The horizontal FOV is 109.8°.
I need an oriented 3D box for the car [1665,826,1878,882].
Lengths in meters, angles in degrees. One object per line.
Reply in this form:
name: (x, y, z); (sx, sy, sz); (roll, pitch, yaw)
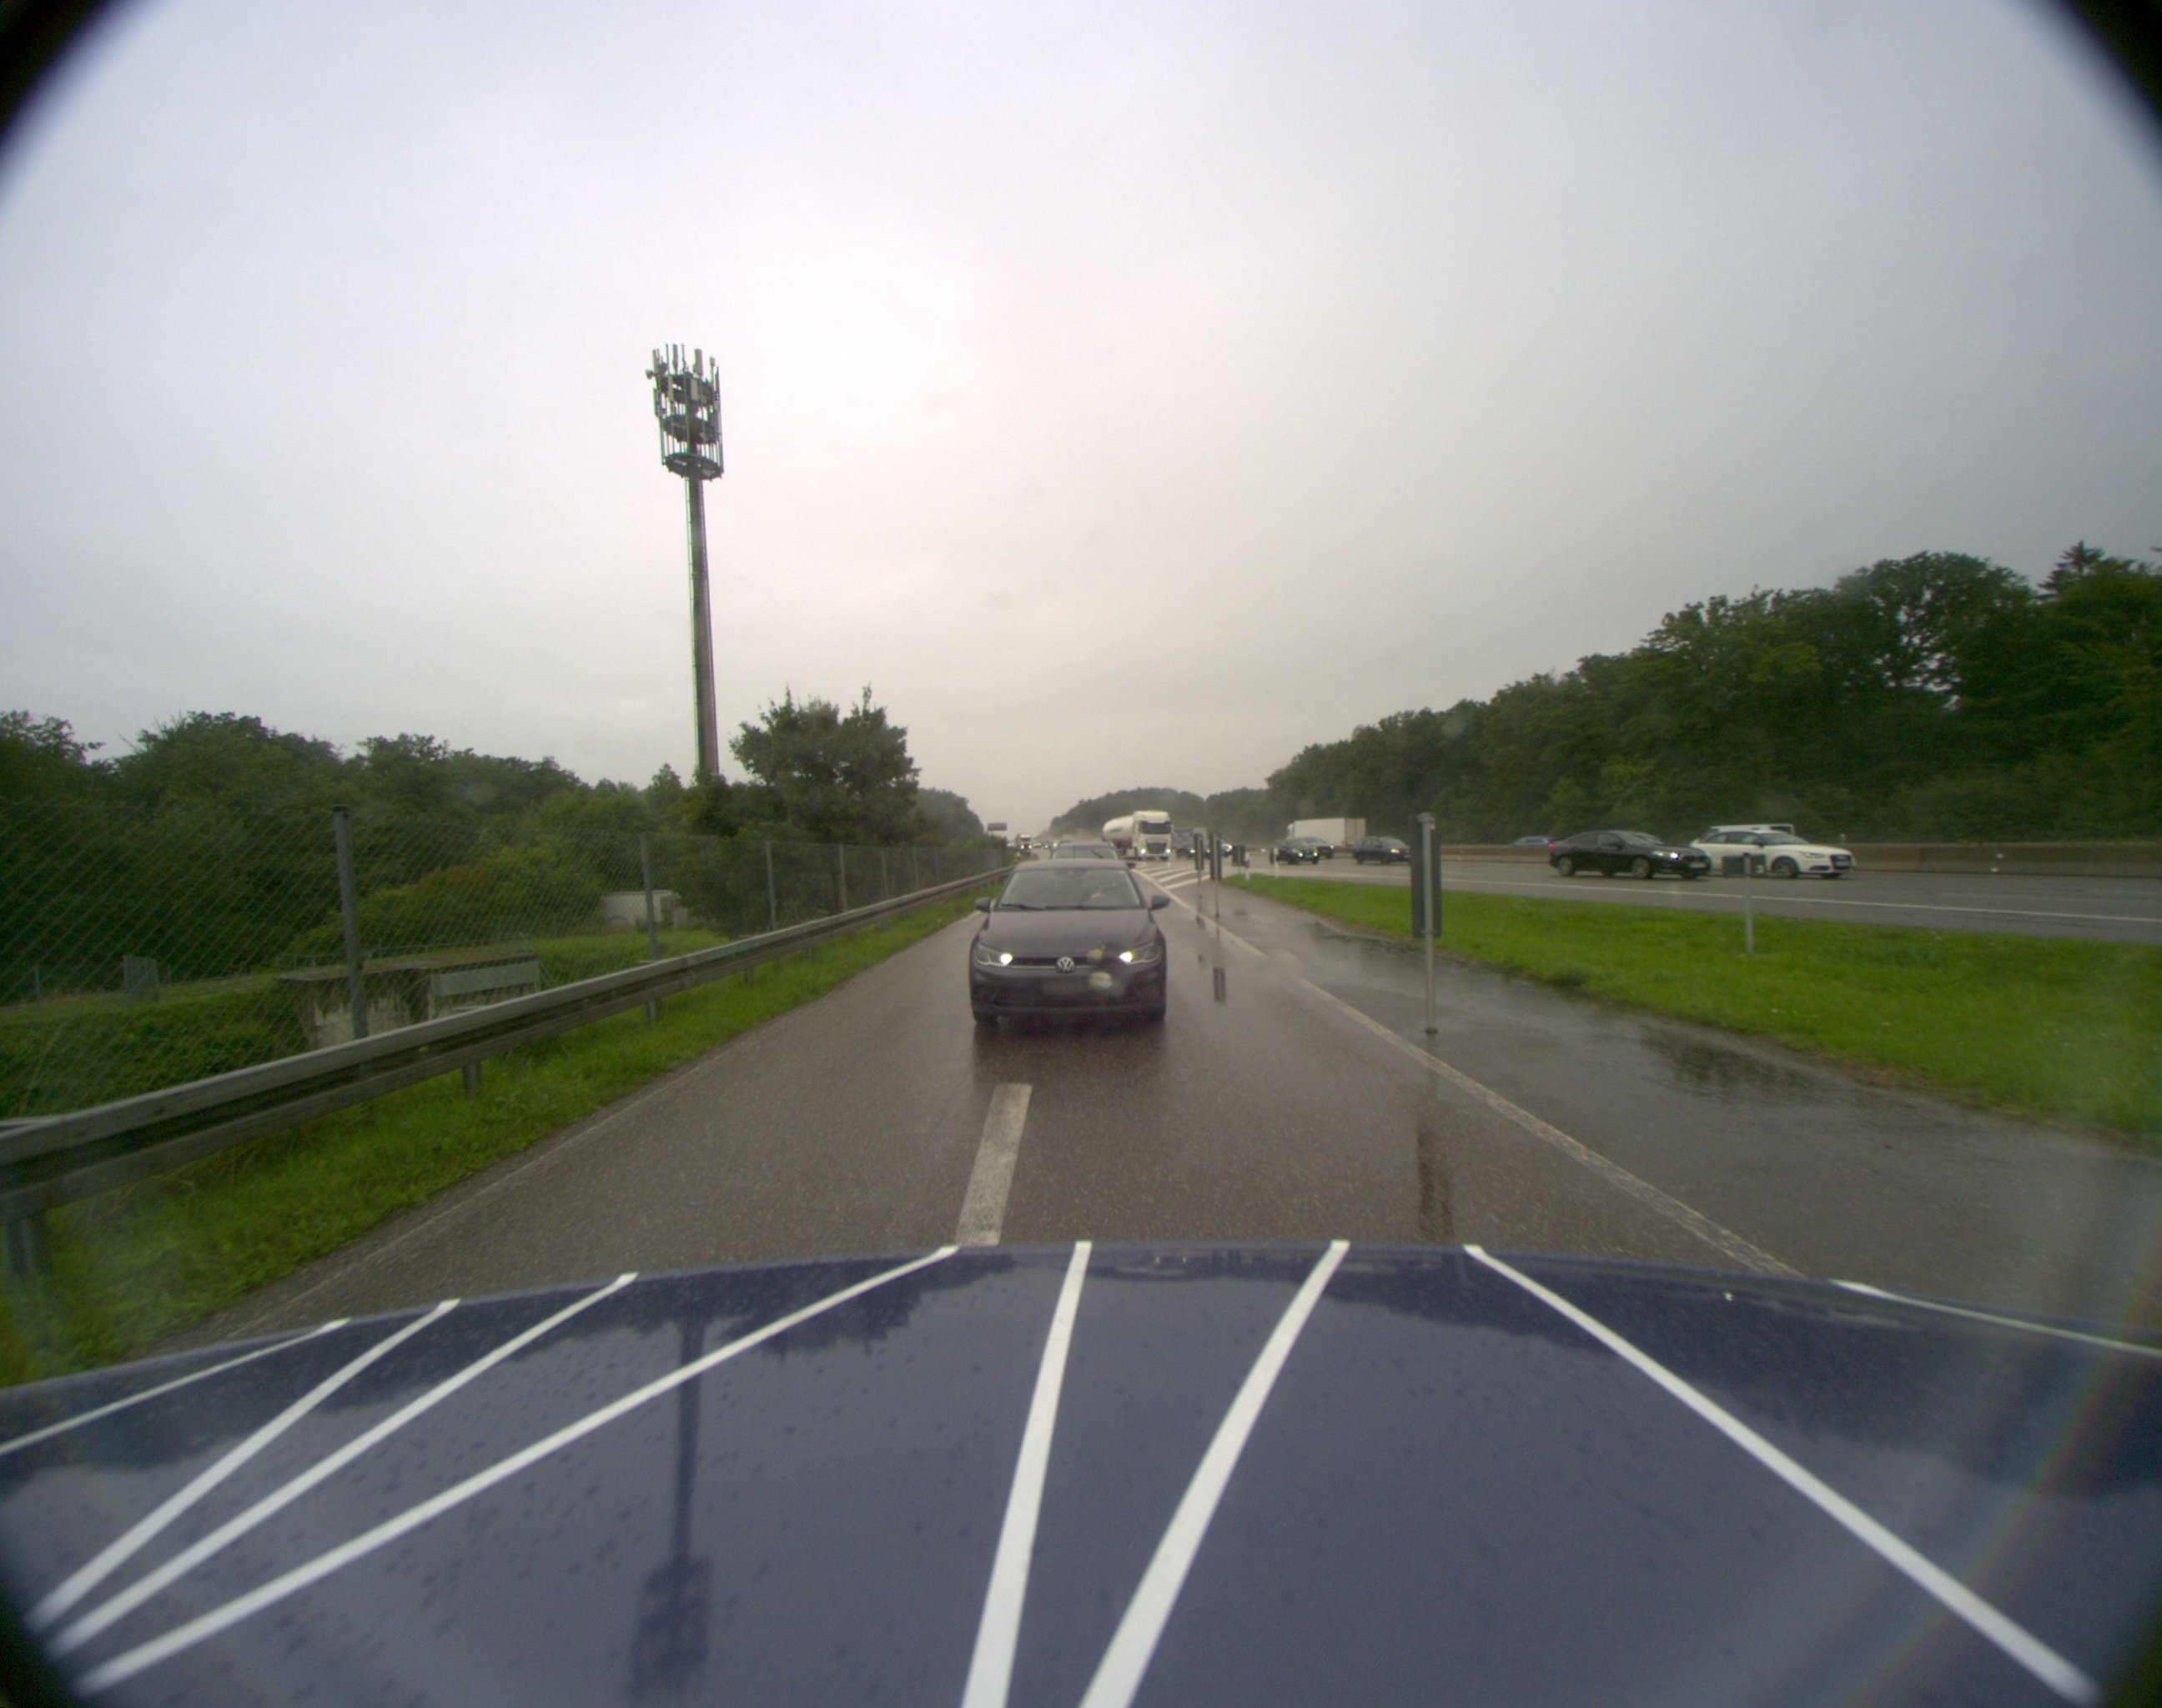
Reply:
car: (20.306, -0.057, 22.663); (1.886, 1.472, 4.498); (-1, 1, -9)

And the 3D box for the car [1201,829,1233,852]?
car: (12.369, -1.237, 69.427); (1.862, 2.002, 3.997); (-1, 1, -6)

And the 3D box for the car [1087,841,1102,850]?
car: (2.471, -1.489, 139.973); (1.789, 1.550, 4.094); (-1, -1, -13)

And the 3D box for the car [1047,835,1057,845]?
car: (-6.684, -3.200, 175.395); (1.918, 2.003, 3.996); (-7, 4, -6)

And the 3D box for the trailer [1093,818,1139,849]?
trailer: (4.247, -2.540, 97.657); (2.692, 3.485, 15.110); (-5, 2, -9)

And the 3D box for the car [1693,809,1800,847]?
car: (38.981, -1.536, 44.681); (2.000, 2.002, 4.478); (-4, 2, -9)

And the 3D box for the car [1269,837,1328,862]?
car: (12.412, -0.269, 43.608); (1.824, 1.364, 3.997); (-1, 1, -6)

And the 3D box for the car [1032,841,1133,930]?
car: (0.059, 0.565, 16.568); (1.810, 1.532, 3.999); (-5, 1, 1)

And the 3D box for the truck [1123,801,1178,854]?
truck: (5.576, -2.081, 62.143); (2.759, 3.985, 6.501); (-2, 1, -10)

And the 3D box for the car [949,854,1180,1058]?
car: (-0.148, 0.783, 7.942); (1.670, 1.394, 4.260); (-4, 1, -1)

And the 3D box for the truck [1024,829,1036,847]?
truck: (-12.825, -3.974, 190.567); (2.597, 4.121, 5.228); (-4, 1, -3)

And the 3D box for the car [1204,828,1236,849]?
car: (14.571, -1.605, 79.902); (2.000, 2.002, 3.996); (-2, 1, -10)

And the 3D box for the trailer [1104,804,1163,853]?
trailer: (4.511, -2.182, 68.245); (2.771, 4.003, 11.030); (-1, 1, -10)

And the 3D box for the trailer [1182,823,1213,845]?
trailer: (23.103, -4.056, 151.311); (3.101, 4.025, 9.155); (-6, 3, -10)

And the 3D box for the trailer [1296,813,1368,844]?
trailer: (30.666, -3.024, 93.720); (2.657, 3.477, 13.473); (-2, 1, -9)

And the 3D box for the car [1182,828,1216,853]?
car: (9.696, -1.087, 62.880); (1.766, 1.893, 3.997); (-3, 1, -6)

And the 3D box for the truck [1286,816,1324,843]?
truck: (29.609, -3.158, 100.804); (2.655, 3.432, 5.596); (-2, 1, -9)

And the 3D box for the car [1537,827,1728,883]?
car: (16.188, -0.007, 22.652); (1.887, 1.472, 4.497); (-1, 1, -13)

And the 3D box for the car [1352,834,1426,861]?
car: (16.805, -0.352, 41.679); (1.824, 1.406, 4.120); (-1, 0, -10)

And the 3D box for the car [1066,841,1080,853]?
car: (-1.506, -1.256, 139.648); (1.927, 1.852, 3.996); (-7, 3, -5)

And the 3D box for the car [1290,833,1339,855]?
car: (17.851, -0.760, 58.339); (1.824, 1.659, 4.400); (0, 1, -10)
